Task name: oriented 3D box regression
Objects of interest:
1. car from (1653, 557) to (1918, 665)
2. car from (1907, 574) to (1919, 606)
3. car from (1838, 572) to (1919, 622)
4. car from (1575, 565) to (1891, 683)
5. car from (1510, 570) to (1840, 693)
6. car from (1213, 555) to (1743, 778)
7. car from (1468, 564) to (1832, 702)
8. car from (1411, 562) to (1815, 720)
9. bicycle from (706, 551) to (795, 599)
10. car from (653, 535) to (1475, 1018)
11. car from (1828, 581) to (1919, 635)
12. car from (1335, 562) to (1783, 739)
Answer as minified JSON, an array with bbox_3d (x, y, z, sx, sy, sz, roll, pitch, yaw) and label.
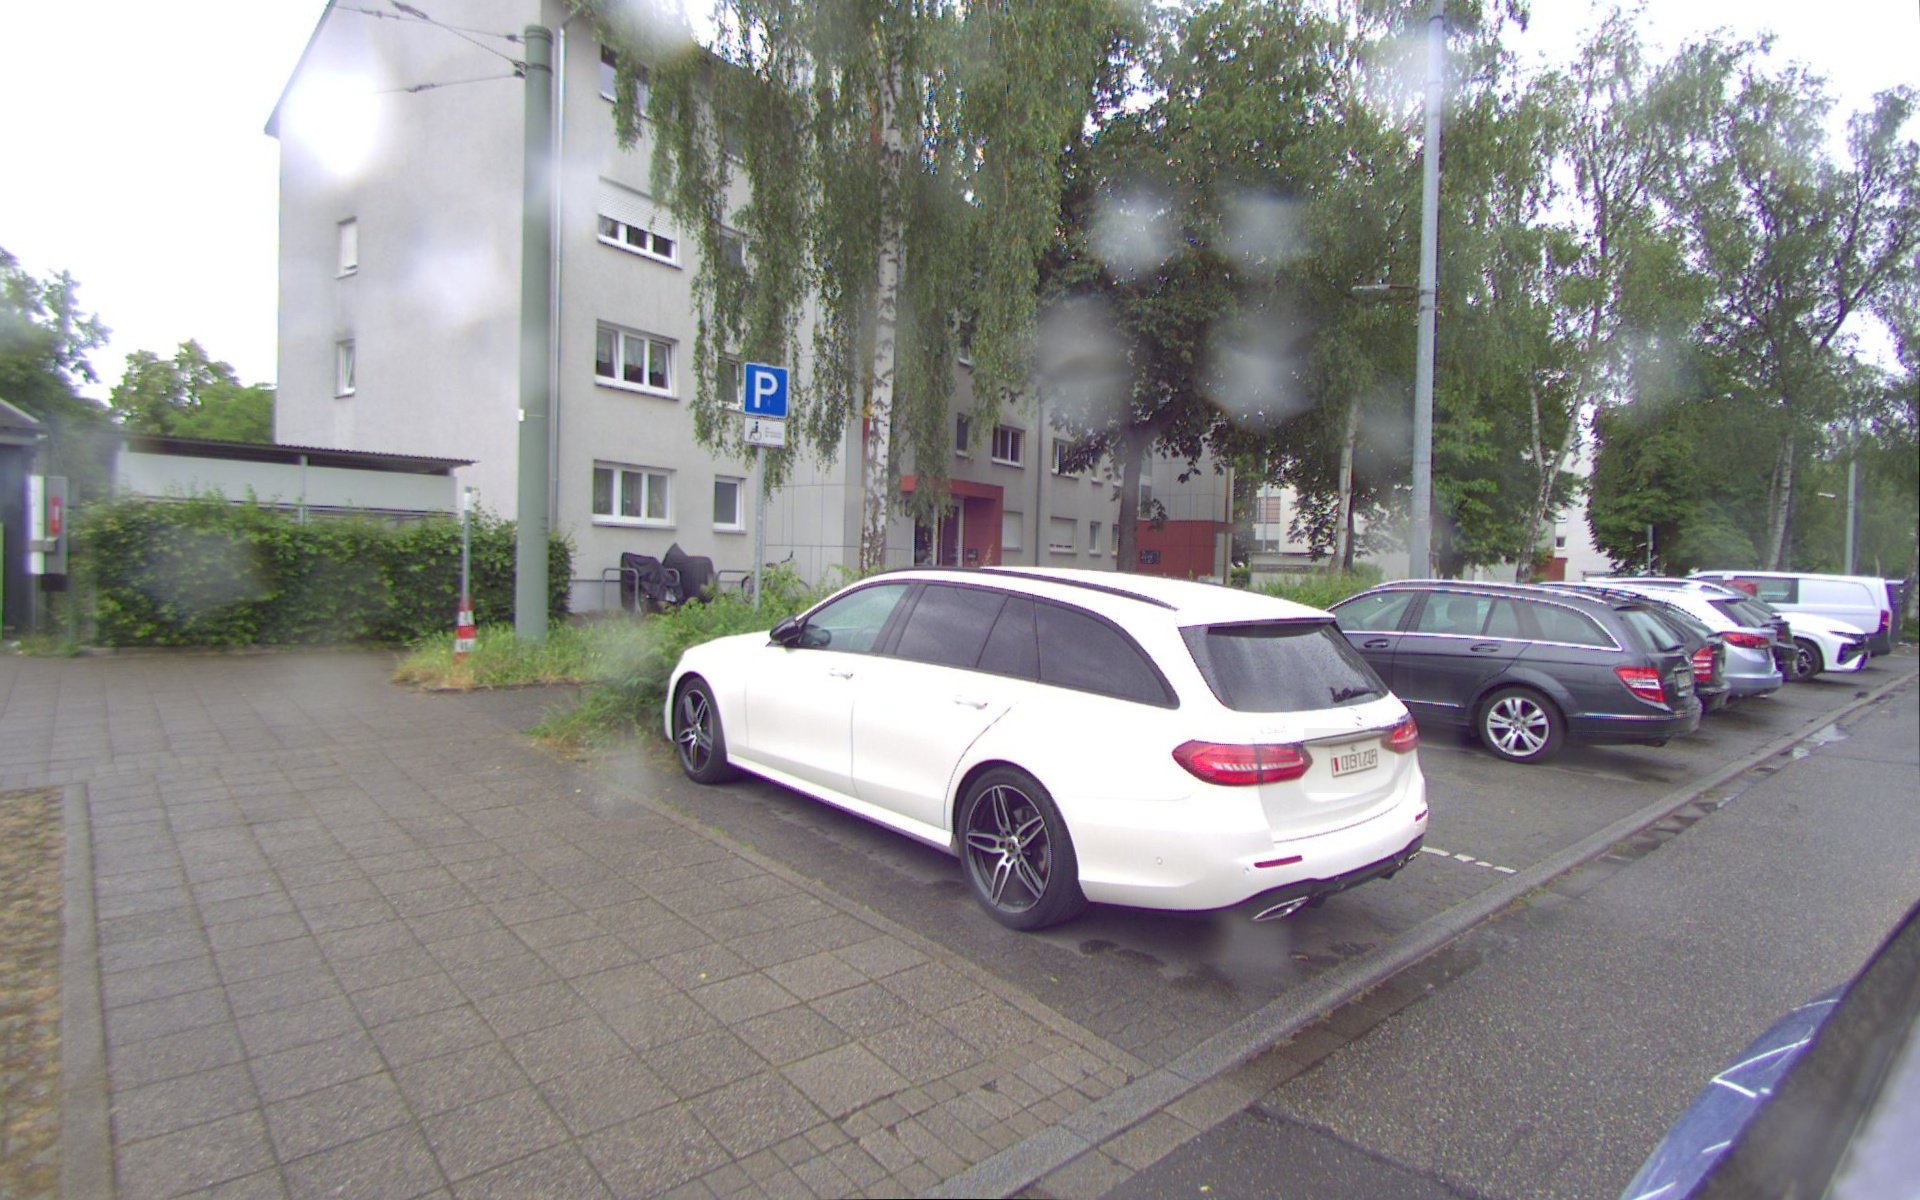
[{"bbox_3d":[17.536,0.136,21.666,4.172,1.888,1.654,6,5,43],"label":"car"},{"bbox_3d":[53.227,-0.547,53.770,1.866,1.701,3.998,-1,1,-36],"label":"car"},{"bbox_3d":[37.741,-0.131,40.235,1.866,1.937,3.998,-1,0,-36],"label":"car"},{"bbox_3d":[13.700,0.318,18.170,1.651,1.637,4.181,0,5,-40],"label":"car"},{"bbox_3d":[11.386,0.395,16.326,1.653,1.514,4.044,-1,5,-43],"label":"car"},{"bbox_3d":[4.601,0.413,9.461,1.653,1.456,4.044,-1,5,-43],"label":"car"},{"bbox_3d":[9.846,0.355,14.678,1.653,1.514,4.044,-1,5,-43],"label":"car"},{"bbox_3d":[8.234,0.383,13.049,1.653,1.514,4.044,-1,5,-43],"label":"car"},{"bbox_3d":[-4.529,-0.534,21.972,0.701,1.005,1.918,0,0,37],"label":"bicycle"},{"bbox_3d":[0.078,0.468,5.615,1.651,1.456,4.622,-1,5,-41],"label":"car"},{"bbox_3d":[34.420,0.269,36.807,1.866,1.937,3.998,-1,0,-36],"label":"car"},{"bbox_3d":[6.613,0.412,11.523,1.653,1.456,4.044,-1,5,-43],"label":"car"}]
